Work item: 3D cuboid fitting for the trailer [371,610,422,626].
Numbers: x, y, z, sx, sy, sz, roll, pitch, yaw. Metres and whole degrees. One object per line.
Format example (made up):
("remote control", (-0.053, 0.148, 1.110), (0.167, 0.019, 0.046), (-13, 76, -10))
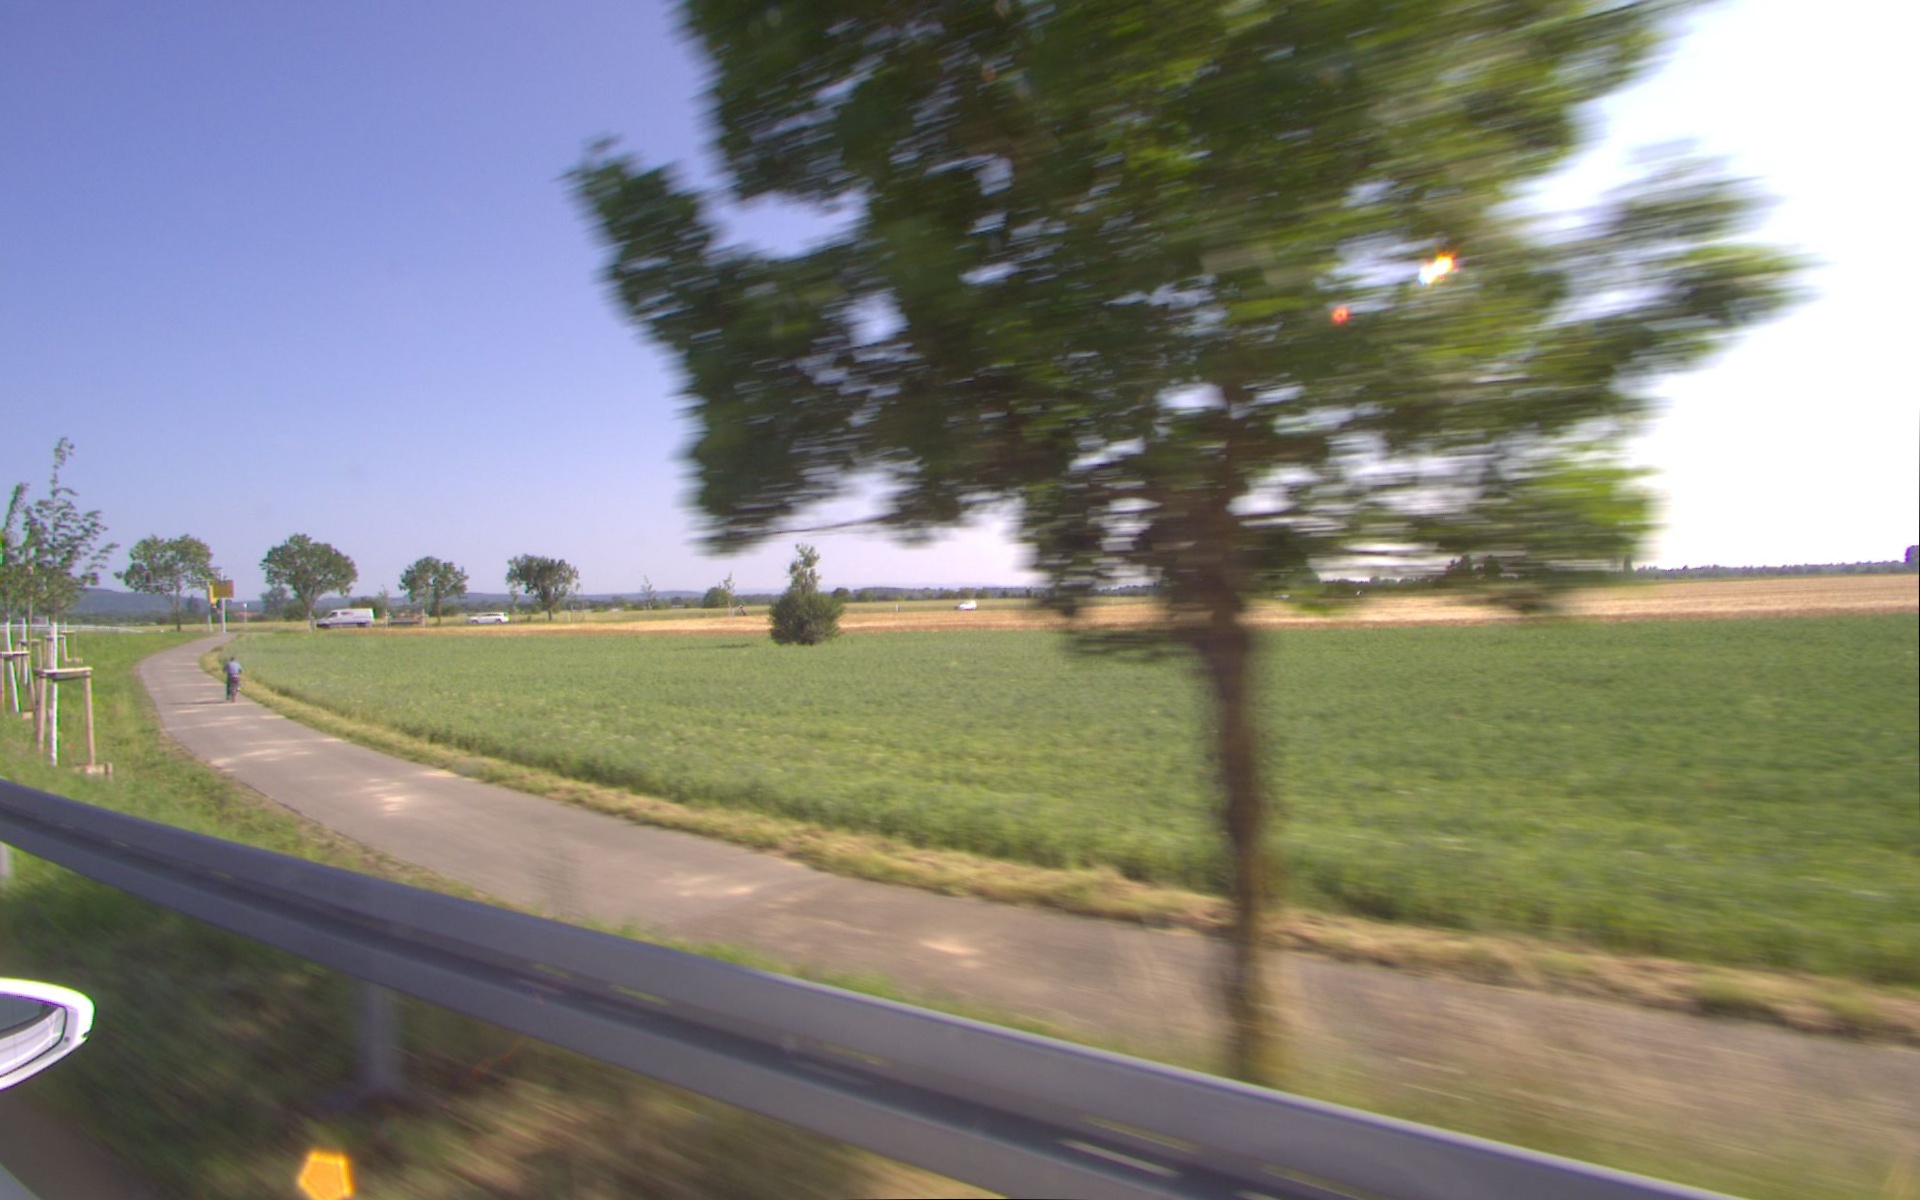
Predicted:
("trailer", (-67.982, 2.163, 120.909), (5.194, 1.776, 1.947), (-1, -1, -25))

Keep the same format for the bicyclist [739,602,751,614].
("bicyclist", (-28.572, 1.027, 133.212), (1.263, 1.623, 1.160), (-1, 1, -27))

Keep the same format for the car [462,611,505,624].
("car", (-59.633, 2.167, 125.305), (4.811, 1.529, 1.992), (1, -2, -28))

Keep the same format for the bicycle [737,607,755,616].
("bicycle", (-28.413, 1.539, 133.137), (2.130, 1.201, 0.886), (-1, -1, -28))

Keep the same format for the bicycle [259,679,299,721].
("bicycle", (-20.243, 2.953, 29.755), (0.751, 1.047, 1.912), (0, 0, -41))

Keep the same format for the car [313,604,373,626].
("car", (-72.964, 1.836, 118.539), (5.882, 2.524, 1.993), (0, -2, -25))
